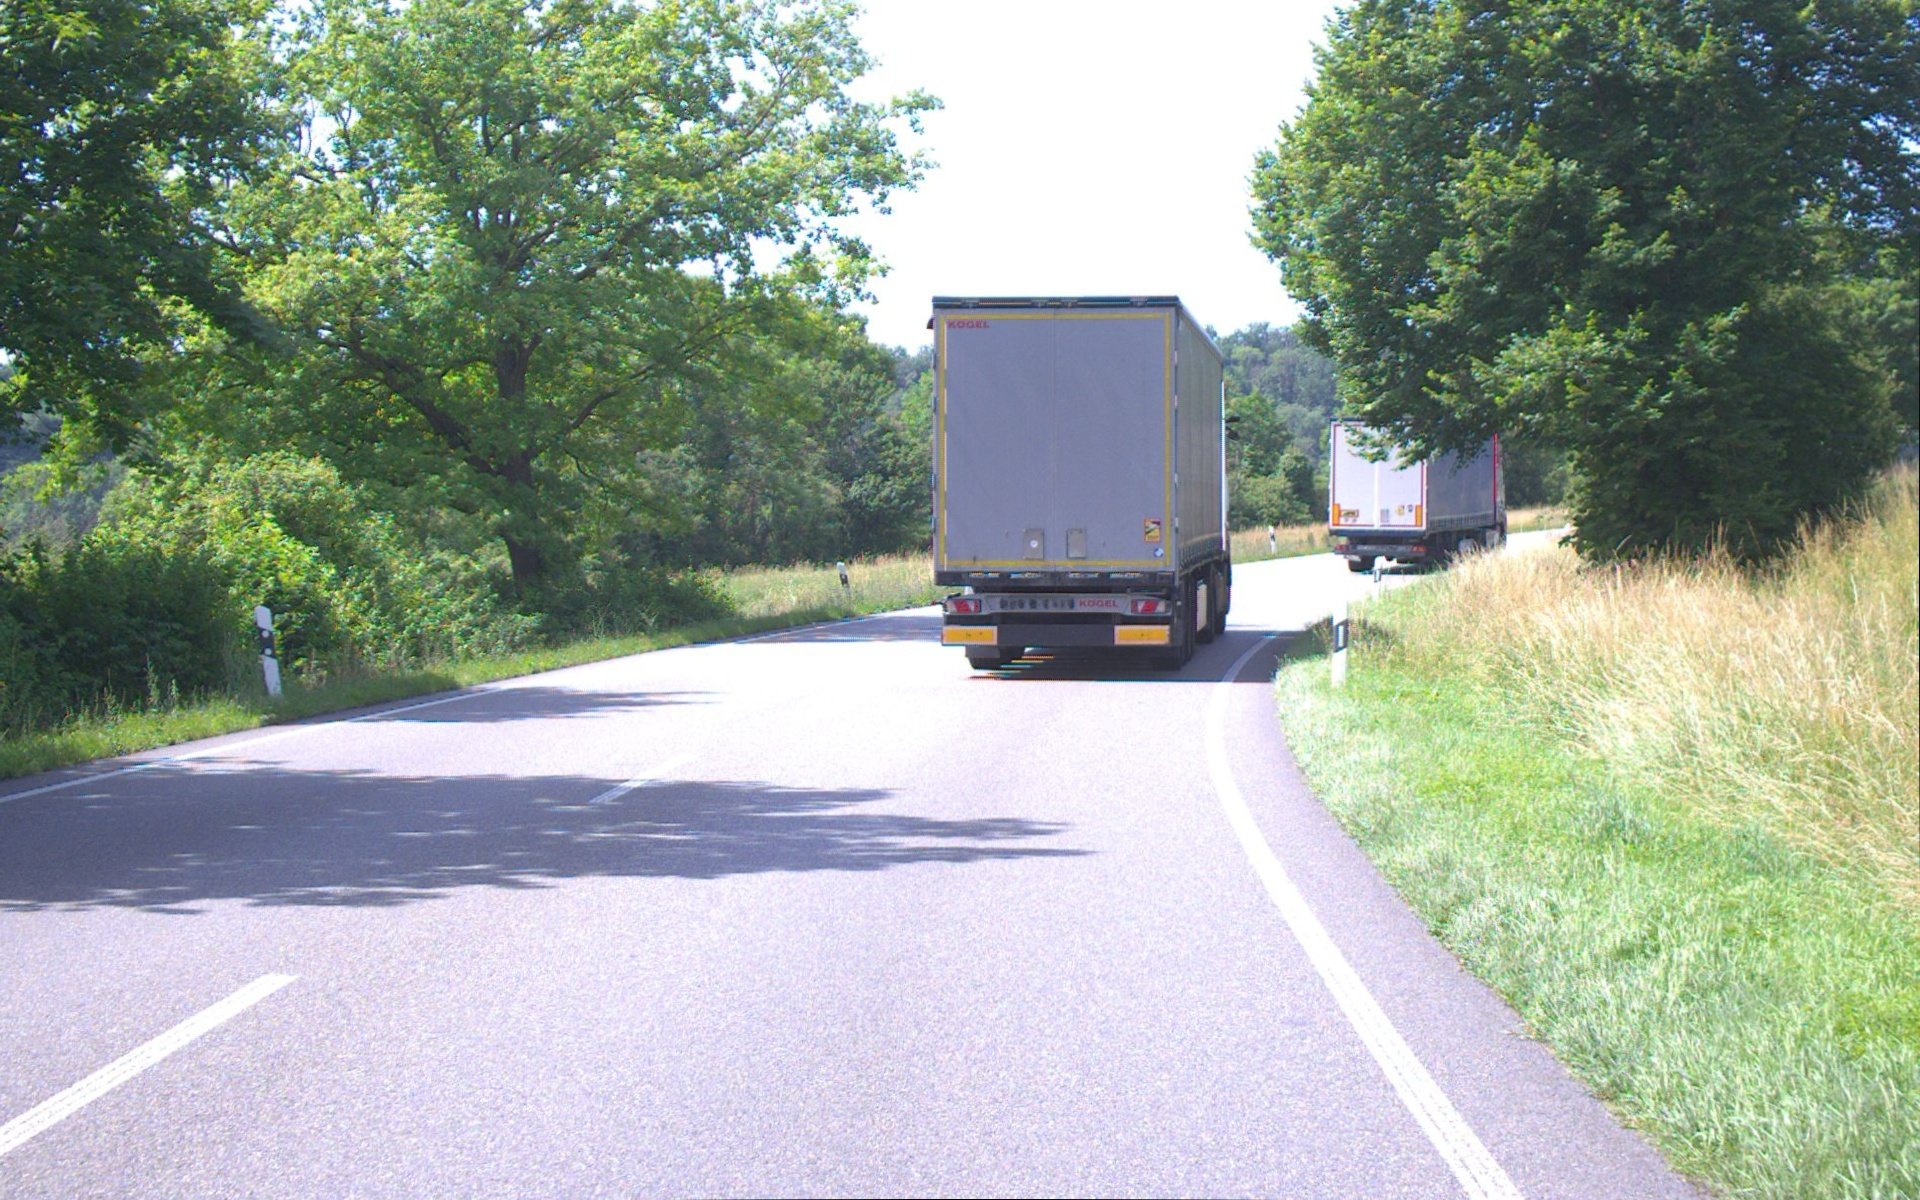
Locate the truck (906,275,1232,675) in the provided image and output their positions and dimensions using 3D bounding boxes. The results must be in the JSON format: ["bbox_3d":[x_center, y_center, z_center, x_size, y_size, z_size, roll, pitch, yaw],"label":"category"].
[{"bbox_3d":[1.707,-1.497,42.684,2.802,4.054,15.323,1,2,6],"label":"truck"}]

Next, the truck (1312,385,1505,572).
[{"bbox_3d":[12.669,-3.326,95.473,3.107,4.689,16.578,-1,2,15],"label":"truck"}]
